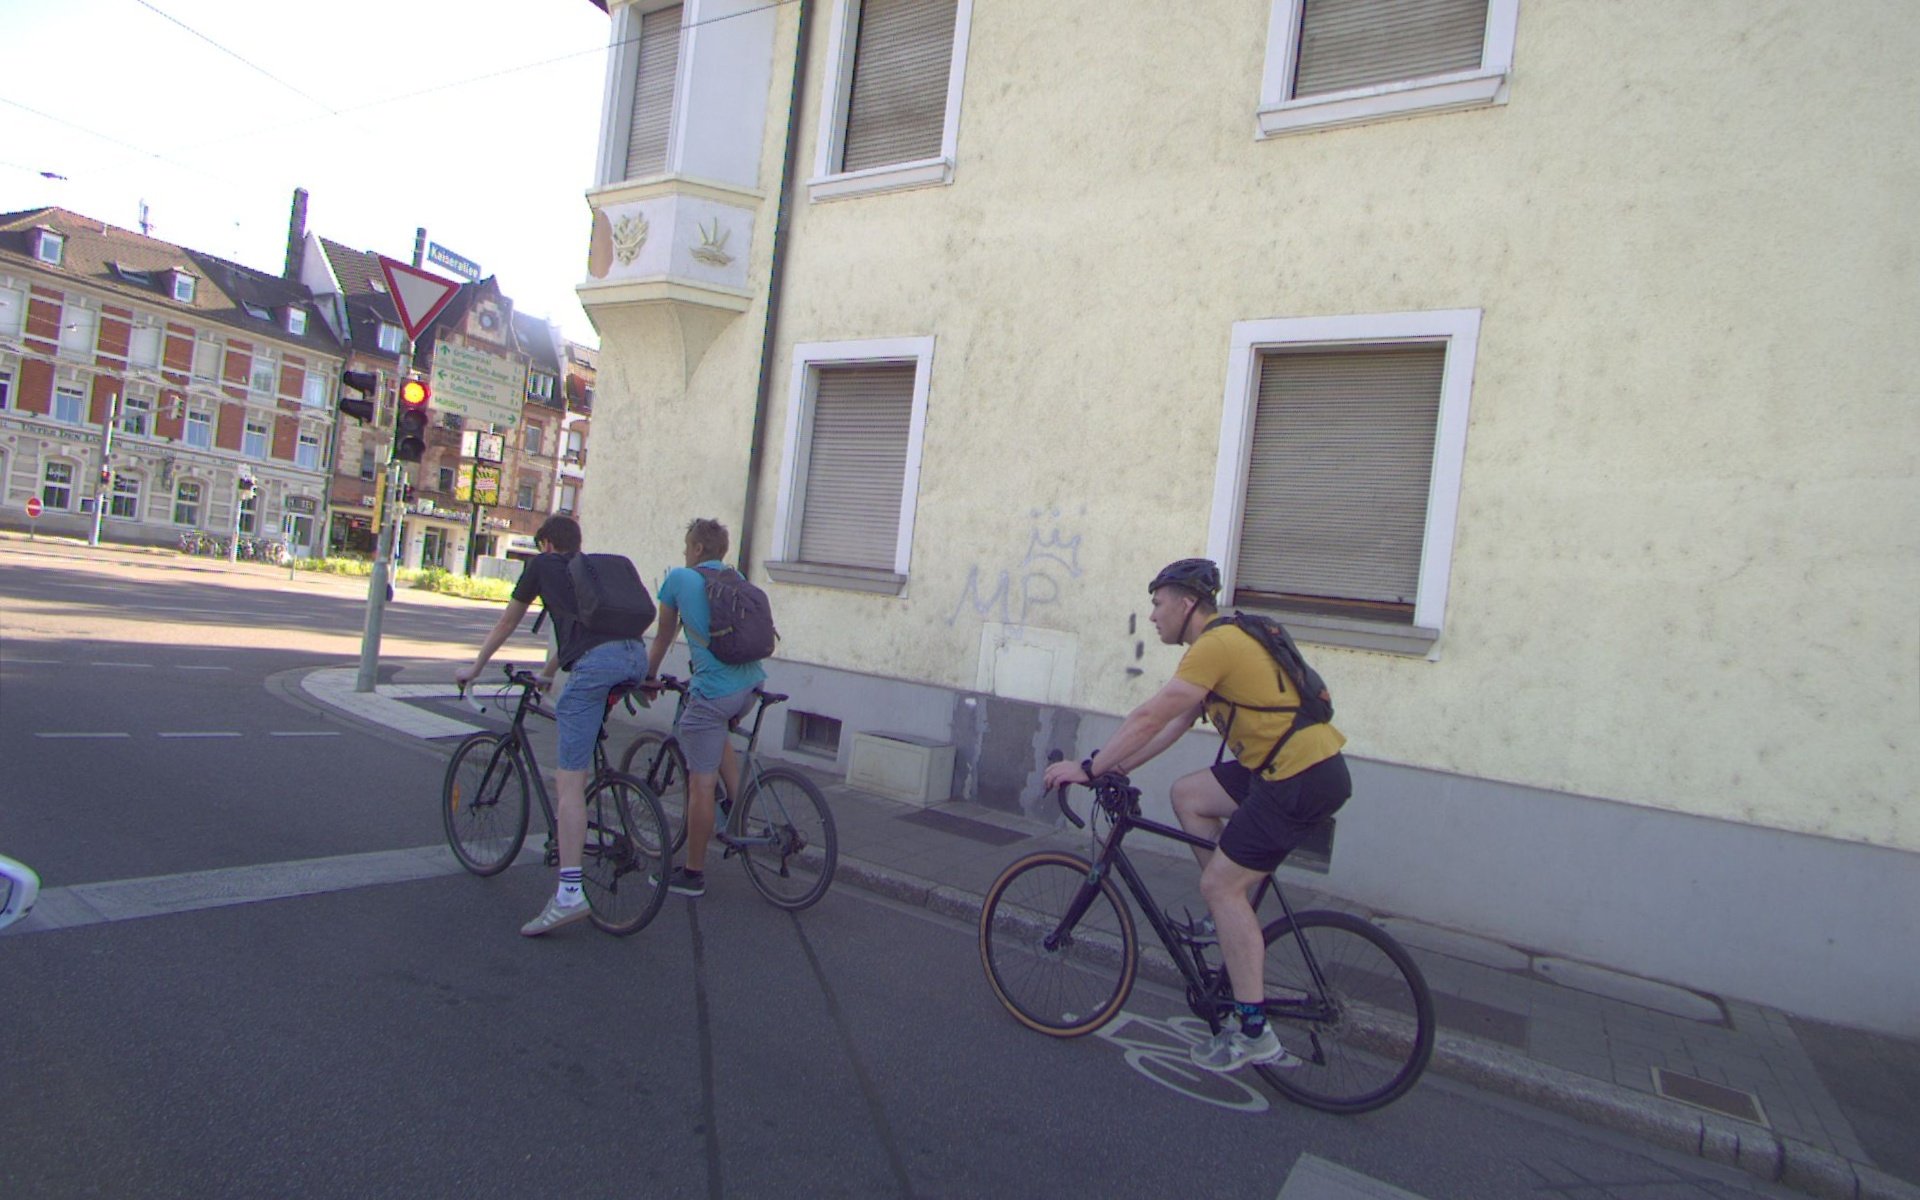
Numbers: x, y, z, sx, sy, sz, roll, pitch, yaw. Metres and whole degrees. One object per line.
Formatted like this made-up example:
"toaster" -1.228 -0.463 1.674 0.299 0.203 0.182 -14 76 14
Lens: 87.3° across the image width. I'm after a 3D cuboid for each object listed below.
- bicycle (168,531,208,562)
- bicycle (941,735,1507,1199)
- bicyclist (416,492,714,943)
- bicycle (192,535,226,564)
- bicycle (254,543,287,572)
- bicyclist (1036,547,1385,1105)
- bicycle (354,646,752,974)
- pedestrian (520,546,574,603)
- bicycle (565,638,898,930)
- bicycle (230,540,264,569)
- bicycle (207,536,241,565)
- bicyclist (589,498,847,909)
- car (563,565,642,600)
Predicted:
"bicycle" -35.067 -2.428 45.675 2.140 1.157 0.806 7 0 37
"bicycle" 0.897 1.193 3.647 1.780 1.101 0.611 7 0 32
"bicyclist" -1.799 0.463 4.552 1.083 1.775 0.562 7 0 34
"bicycle" -34.552 -2.338 46.278 2.140 1.157 0.618 7 0 37
"bicycle" -33.120 -2.048 48.311 2.102 1.150 0.609 7 0 37
"bicyclist" 0.928 0.739 3.729 0.939 1.743 0.582 7 0 32
"bicycle" -1.910 0.845 4.597 1.897 1.023 0.645 7 0 34
"pedestrian" -16.571 -1.024 40.379 1.285 2.068 1.321 7 0 31
"bicycle" -1.250 0.876 5.287 1.784 1.130 0.519 7 0 34
"bicycle" -33.685 -2.142 47.507 2.140 1.157 0.618 7 0 37
"bicycle" -34.217 -2.289 46.755 2.140 1.157 0.618 7 0 37
"bicyclist" -1.266 0.490 5.252 0.961 1.917 0.602 6 -1 34
"car" -23.183 -1.091 65.320 2.116 1.660 4.340 7 -1 31
